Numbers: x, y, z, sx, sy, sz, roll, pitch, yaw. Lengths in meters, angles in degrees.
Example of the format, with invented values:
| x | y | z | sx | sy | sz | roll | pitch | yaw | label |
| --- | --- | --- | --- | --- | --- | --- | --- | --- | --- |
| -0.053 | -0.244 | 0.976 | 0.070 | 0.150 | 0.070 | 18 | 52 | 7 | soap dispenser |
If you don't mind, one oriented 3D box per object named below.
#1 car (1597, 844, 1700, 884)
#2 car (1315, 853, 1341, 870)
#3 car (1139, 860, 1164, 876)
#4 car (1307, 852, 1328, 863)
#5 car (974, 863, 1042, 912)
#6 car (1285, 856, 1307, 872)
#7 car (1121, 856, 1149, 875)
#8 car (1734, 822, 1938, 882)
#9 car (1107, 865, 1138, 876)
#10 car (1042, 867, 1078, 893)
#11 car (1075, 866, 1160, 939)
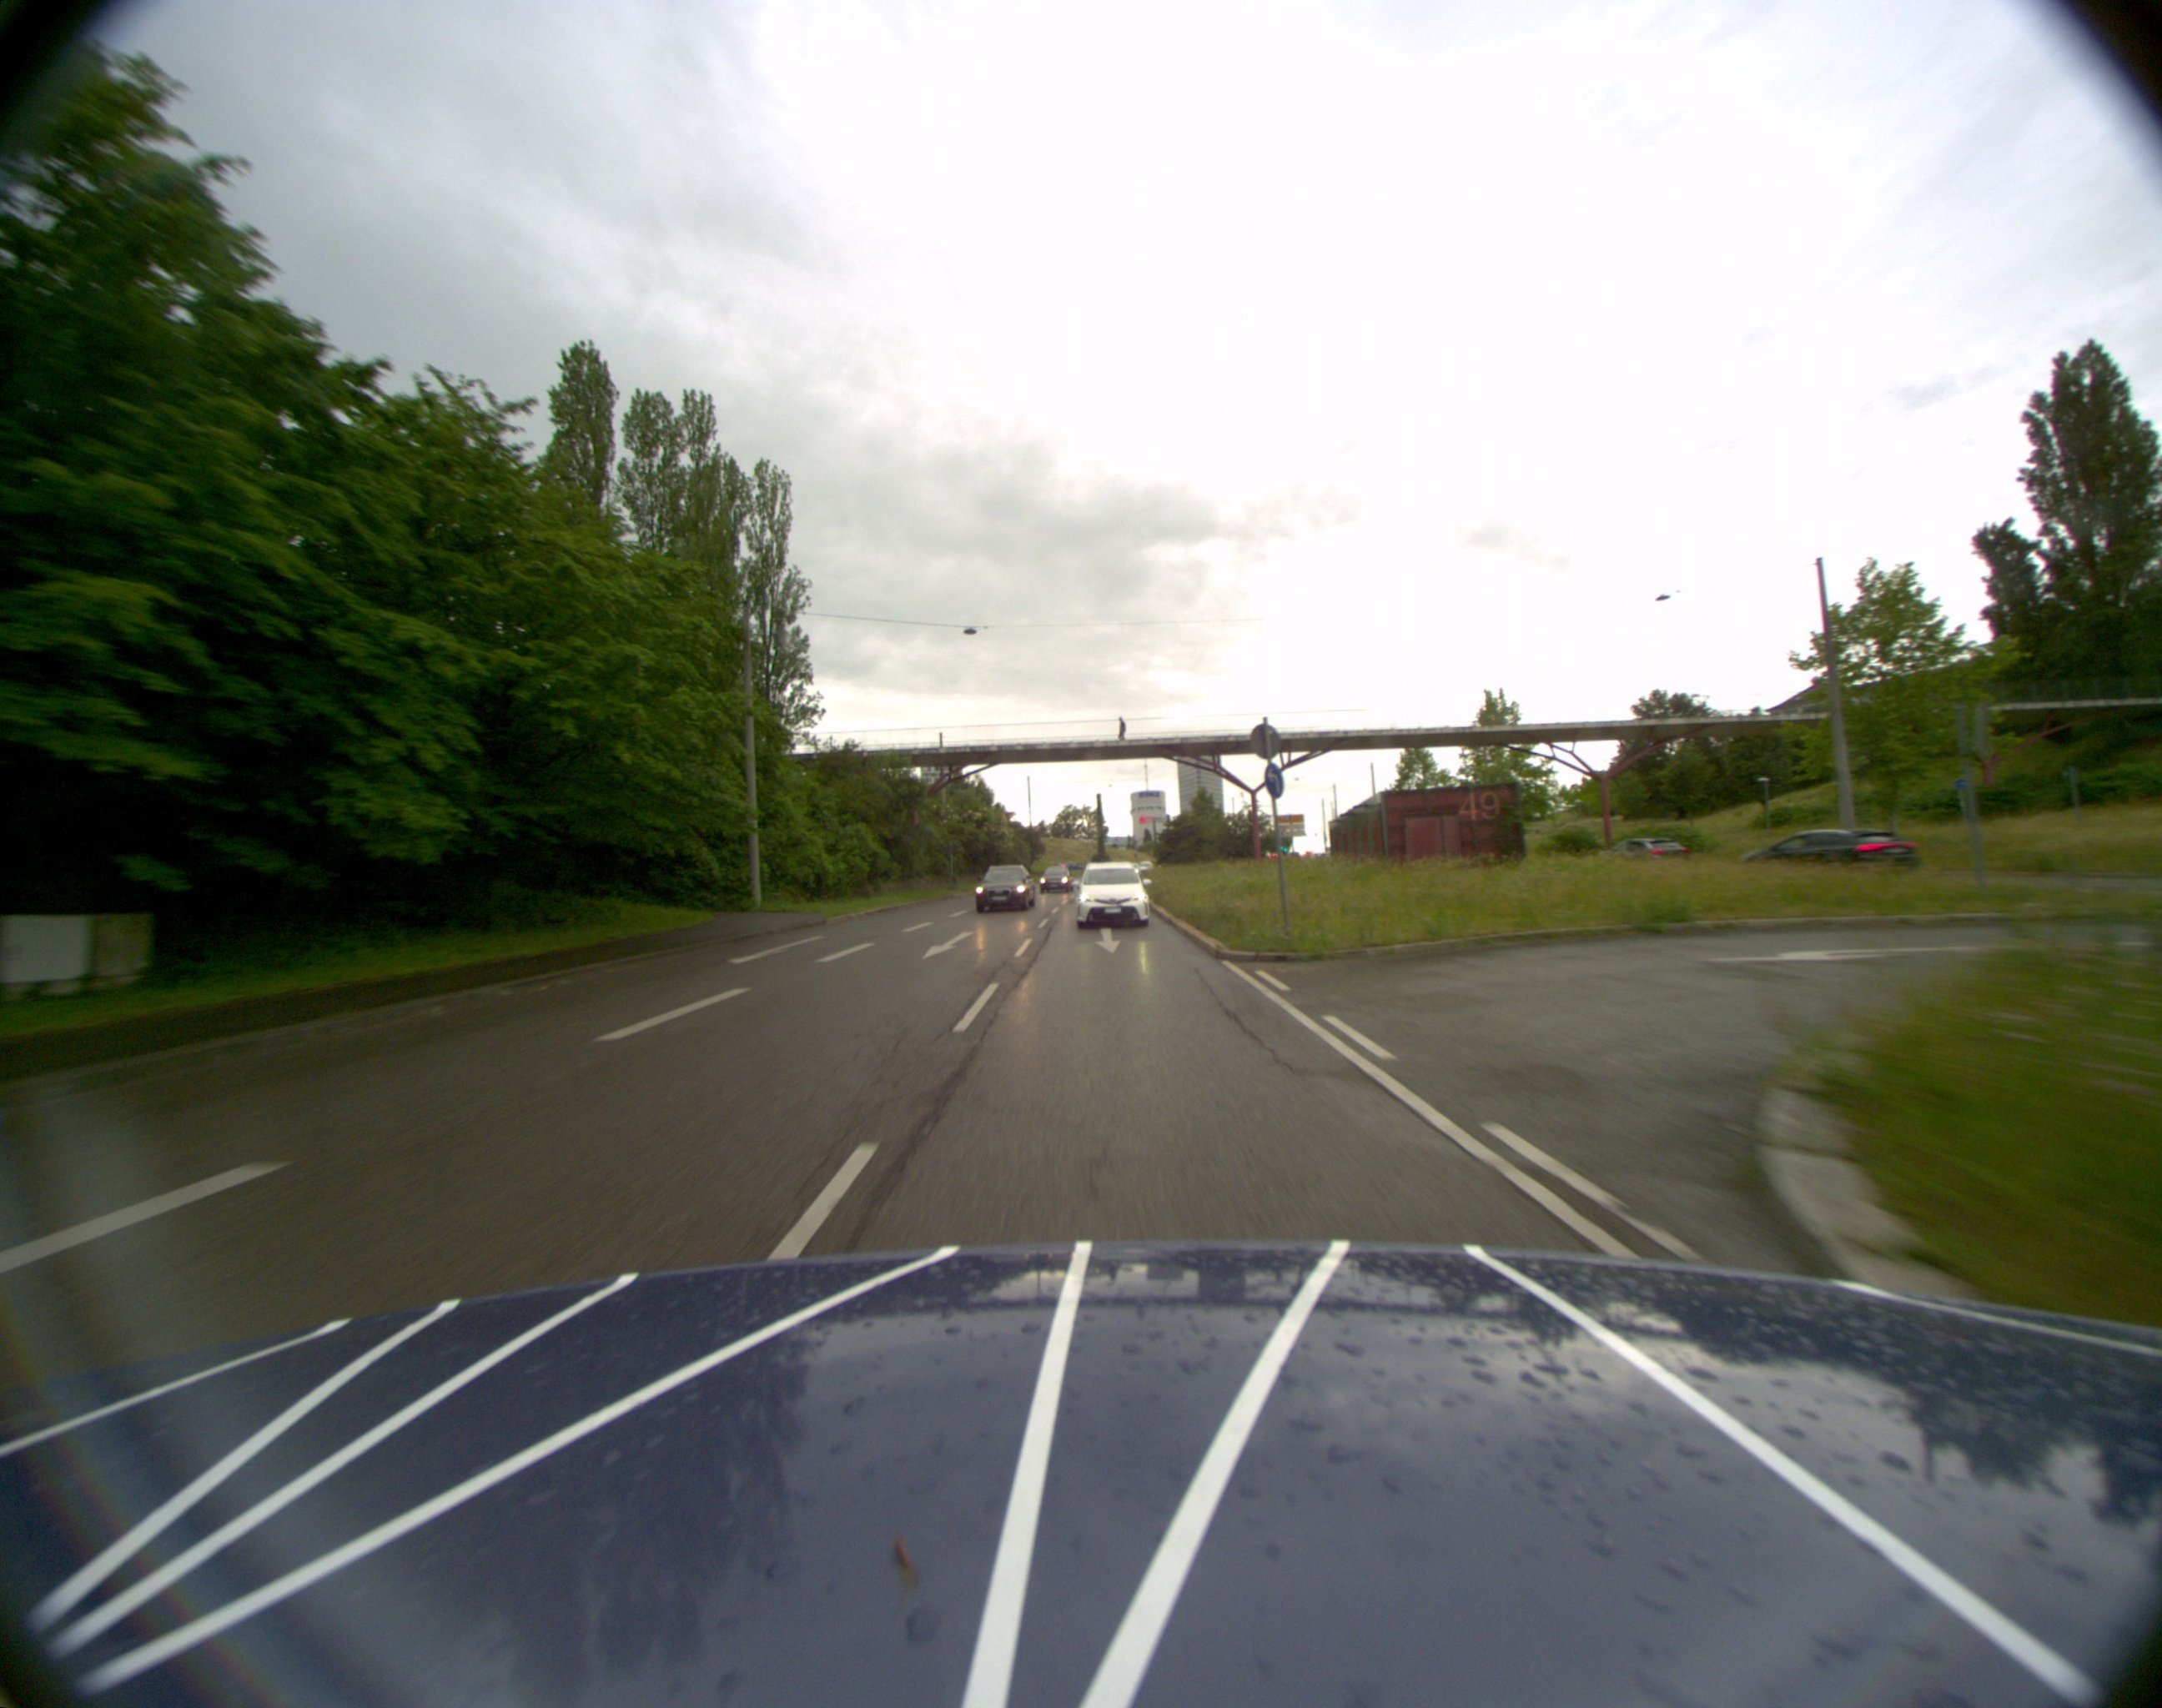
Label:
| x | y | z | sx | sy | sz | roll | pitch | yaw | label |
| --- | --- | --- | --- | --- | --- | --- | --- | --- | --- |
| 25.889 | 0.467 | 34.810 | 1.661 | 1.564 | 3.791 | -6 | -1 | -2 | car |
| 31.191 | 0.943 | 96.036 | 1.998 | 2.001 | 4.001 | -6 | -1 | 4 | car |
| 8.131 | 1.580 | 87.331 | 1.996 | 1.761 | 4.005 | -3 | -1 | 16 | car |
| 25.729 | 0.332 | 82.718 | 1.269 | 0.939 | 3.084 | -6 | 2 | -2 | car |
| -2.597 | 1.176 | 28.090 | 1.927 | 1.591 | 4.280 | -3 | -1 | 1 | car |
| 30.414 | 1.346 | 107.440 | 1.998 | 2.001 | 4.001 | -6 | -1 | 4 | car |
| 5.540 | 1.159 | 77.581 | 1.996 | 1.761 | 4.005 | -3 | -1 | 16 | car |
| 22.278 | -0.012 | 22.722 | 1.660 | 1.518 | 4.436 | -4 | -1 | 1 | car |
| 7.252 | 2.823 | 132.488 | 4.998 | 1.635 | 2.070 | -3 | -1 | -35 | car |
| -1.183 | 1.497 | 45.103 | 1.845 | 1.376 | 4.001 | -3 | -1 | 2 | car |
| 1.015 | 1.169 | 19.988 | 1.924 | 1.603 | 4.377 | -3 | -1 | 4 | car |
